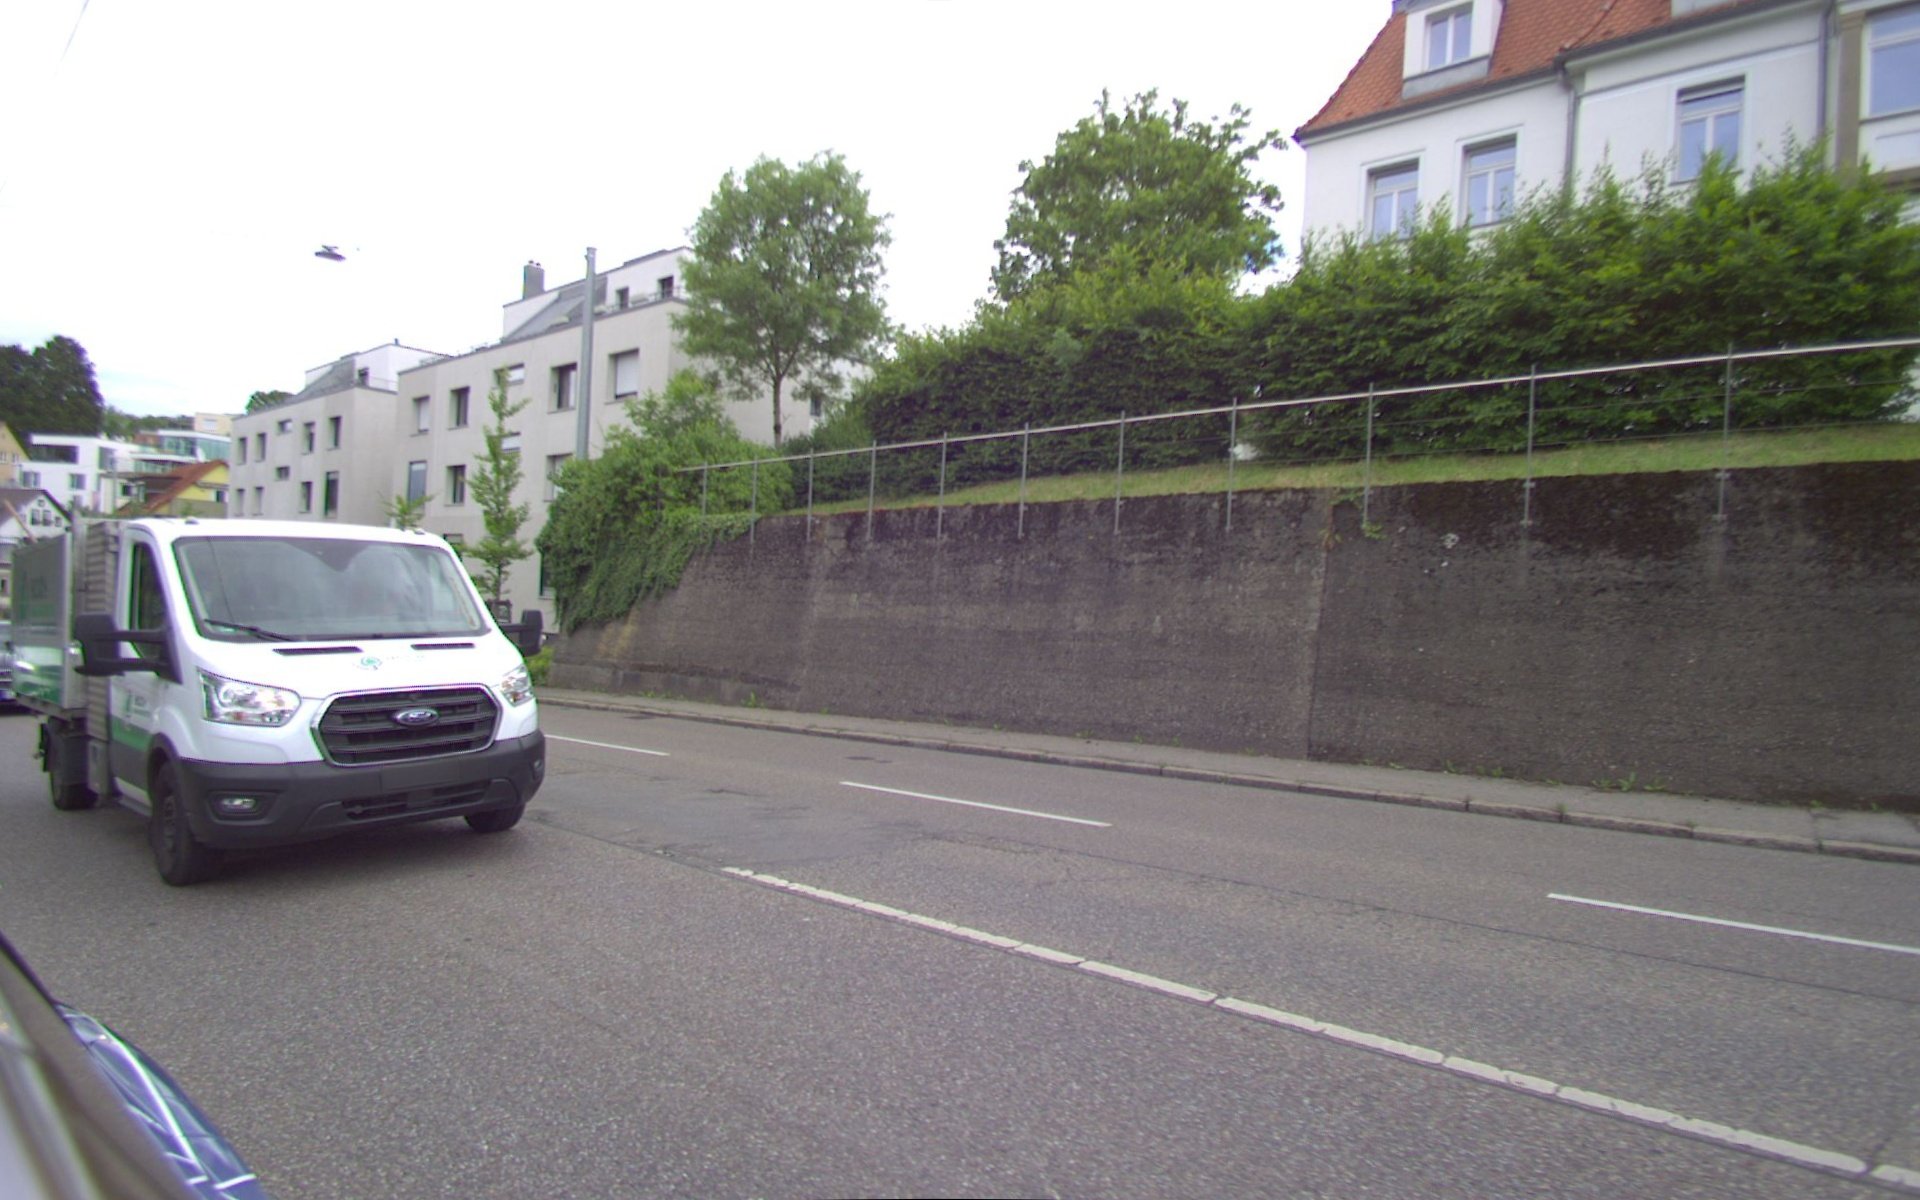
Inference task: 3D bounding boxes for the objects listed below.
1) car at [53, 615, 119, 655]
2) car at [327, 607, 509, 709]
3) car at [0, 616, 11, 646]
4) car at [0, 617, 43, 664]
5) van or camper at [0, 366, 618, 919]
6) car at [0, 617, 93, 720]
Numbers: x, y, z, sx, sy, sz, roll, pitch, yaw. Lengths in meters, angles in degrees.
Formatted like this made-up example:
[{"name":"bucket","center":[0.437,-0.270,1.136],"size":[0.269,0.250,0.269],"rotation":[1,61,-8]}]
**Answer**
[{"name":"car","center":[-39.047,1.553,45.177],"size":[3.866,1.725,1.687],"rotation":[-1,-2,41]},{"name":"car","center":[-11.024,1.122,20.466],"size":[4.206,1.856,1.812],"rotation":[-1,-3,41]},{"name":"car","center":[-62.219,1.998,64.817],"size":[3.741,1.899,1.720],"rotation":[-1,-2,41]},{"name":"car","center":[-36.988,1.544,39.233],"size":[3.866,1.725,1.687],"rotation":[-1,-2,41]},{"name":"van or camper","center":[-5.290,0.194,7.714],"size":[5.959,2.682,2.320],"rotation":[0,0,39]},{"name":"car","center":[-15.989,1.062,16.787],"size":[4.333,1.541,1.854],"rotation":[-1,-2,41]}]
